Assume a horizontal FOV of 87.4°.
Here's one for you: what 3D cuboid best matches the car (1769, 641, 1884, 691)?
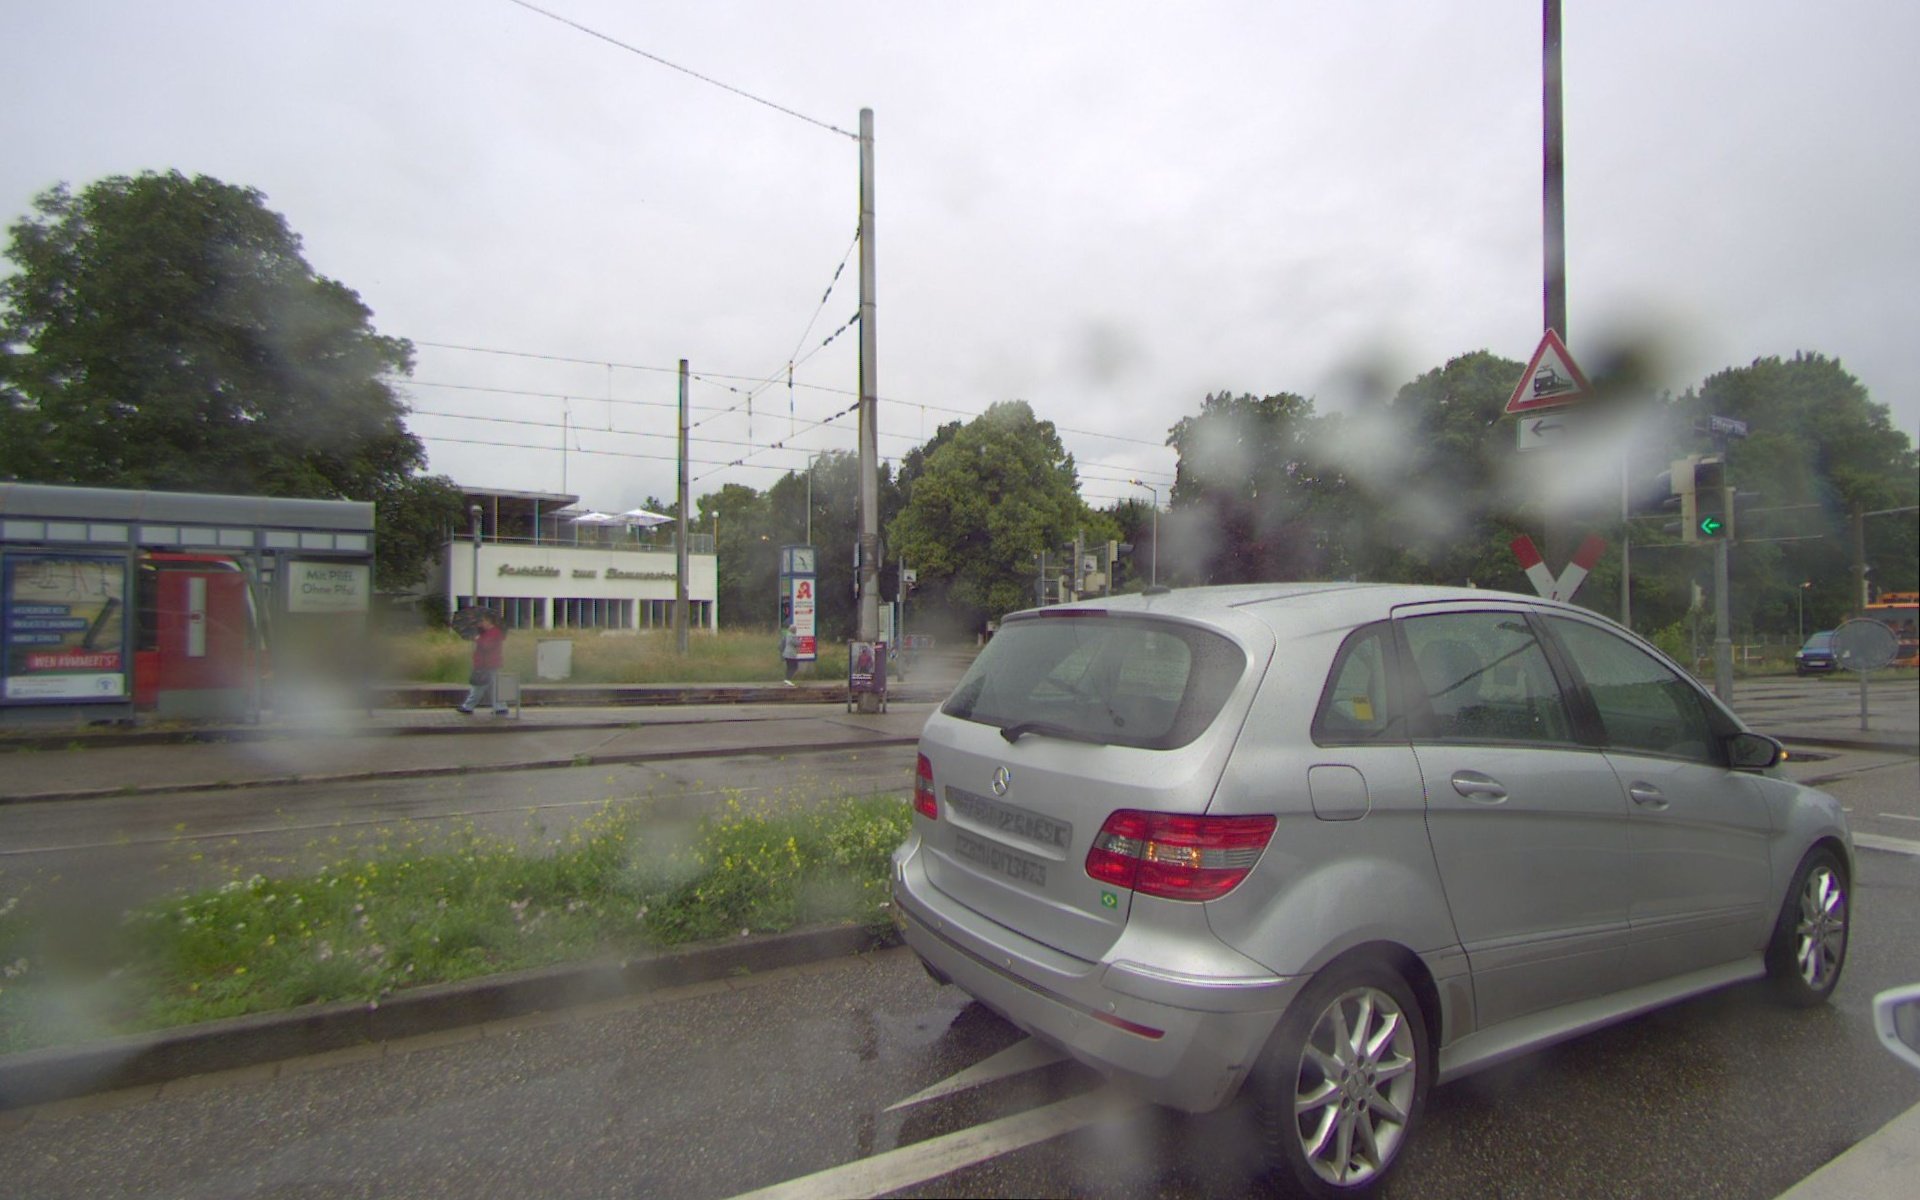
[{"bbox_3d":[33.477,2.517,38.791,4.473,1.732,1.984,2,0,-30],"label":"car"}]

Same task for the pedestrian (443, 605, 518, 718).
[{"bbox_3d":[-7.554,0.942,15.809,0.985,1.698,0.920,1,0,-30],"label":"pedestrian"}]

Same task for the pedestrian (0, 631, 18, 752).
[{"bbox_3d":[-12.072,1.114,12.241,0.691,1.472,0.623,1,-1,-28],"label":"pedestrian"}]

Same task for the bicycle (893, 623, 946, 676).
[{"bbox_3d":[-1.370,1.669,34.279,1.714,1.784,0.637,1,-1,-30],"label":"bicycle"}]

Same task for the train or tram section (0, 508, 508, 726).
[{"bbox_3d":[-13.603,0.348,18.736,9.168,3.434,3.517,1,-2,-30],"label":"train or tram section"}]

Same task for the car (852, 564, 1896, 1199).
[{"bbox_3d":[1.742,0.759,3.908,3.966,1.564,1.728,1,-2,-30],"label":"car"}]

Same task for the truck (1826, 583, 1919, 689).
[{"bbox_3d":[42.028,1.539,43.860,10.288,4.223,3.367,2,0,-31],"label":"truck"}]

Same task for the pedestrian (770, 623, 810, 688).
[{"bbox_3d":[-4.580,1.487,27.001,0.795,1.679,0.776,1,0,-30],"label":"pedestrian"}]
